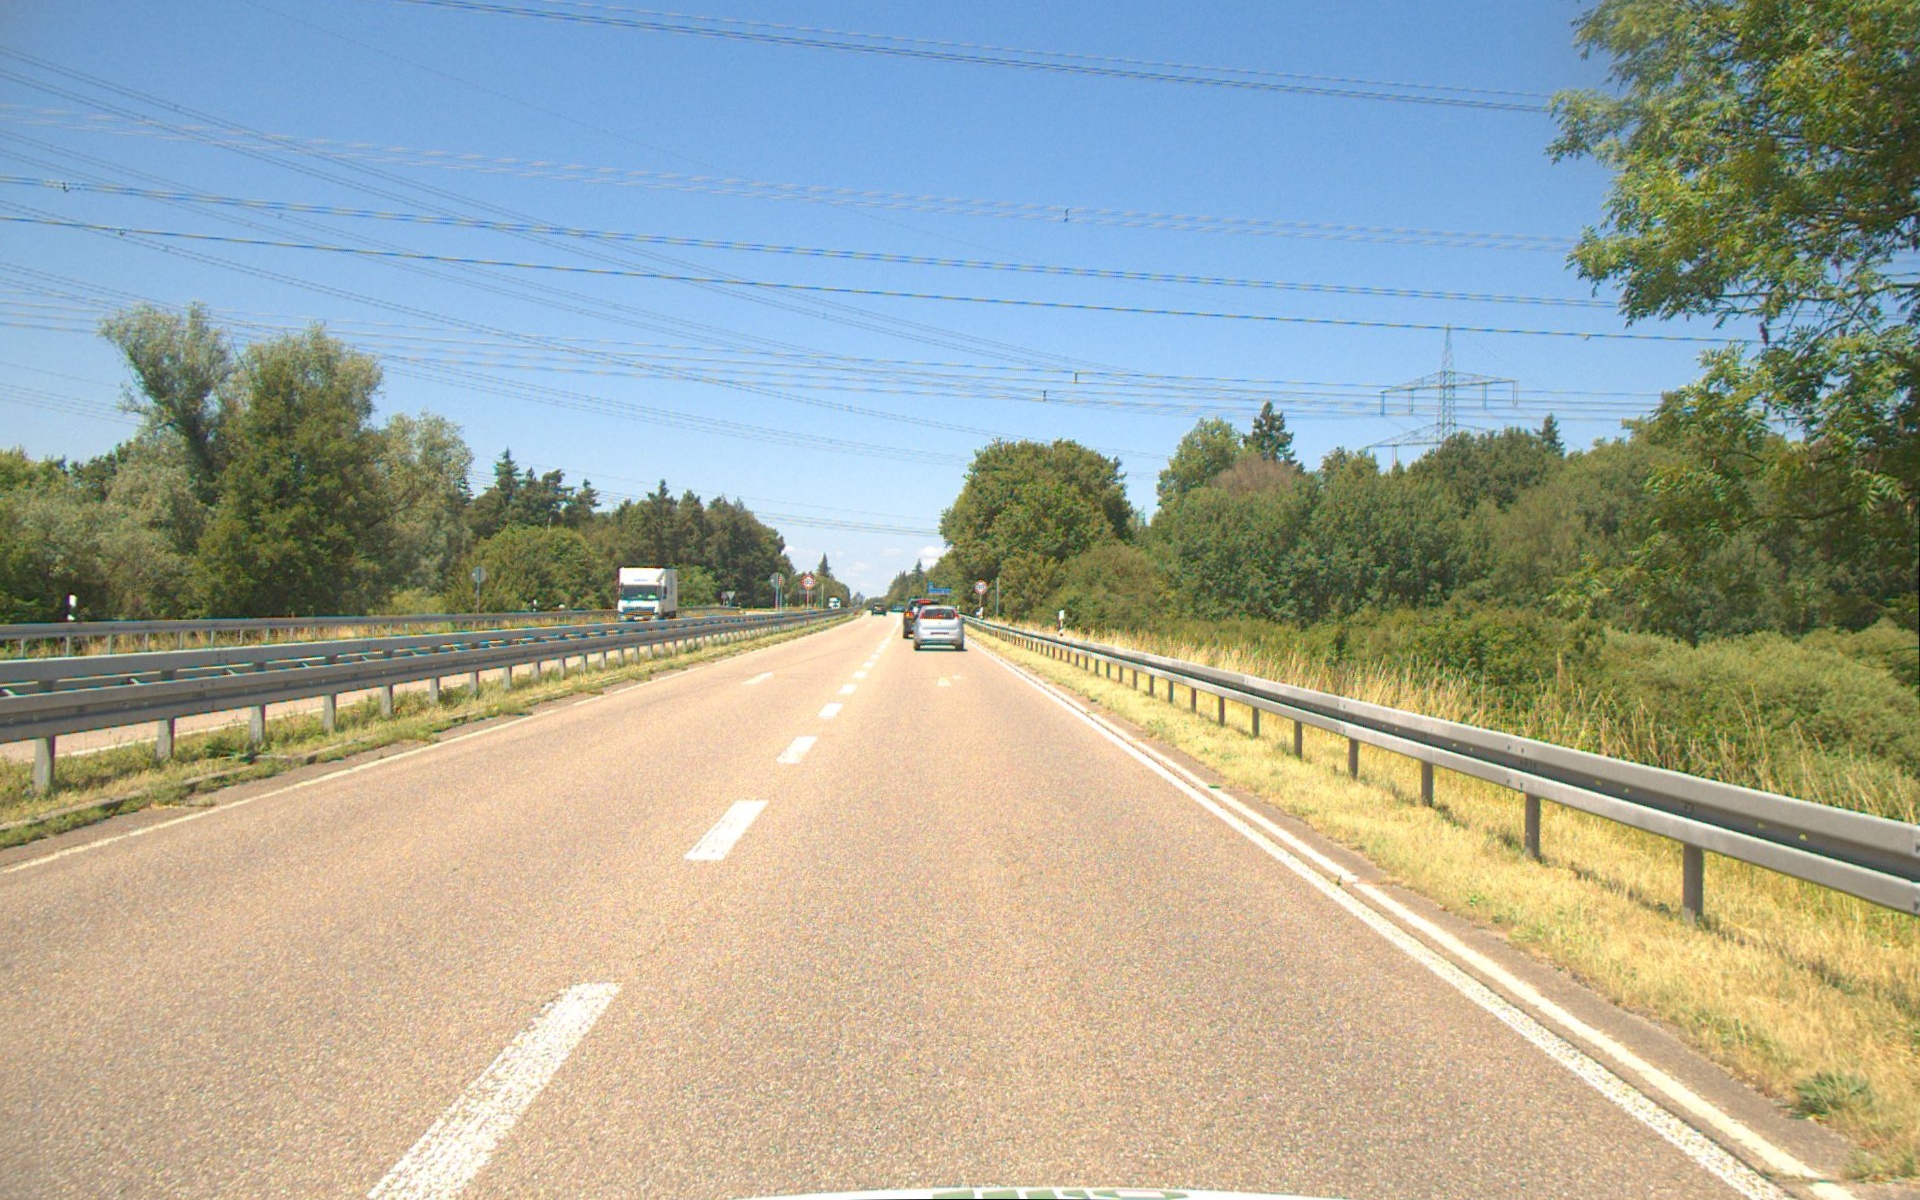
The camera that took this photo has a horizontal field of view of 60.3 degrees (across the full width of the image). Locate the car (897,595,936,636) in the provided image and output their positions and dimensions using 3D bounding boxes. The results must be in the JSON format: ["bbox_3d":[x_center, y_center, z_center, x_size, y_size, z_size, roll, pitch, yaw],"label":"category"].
[{"bbox_3d":[-1.993,0.693,74.510,1.608,1.682,3.572,3,-1,-3],"label":"car"}]

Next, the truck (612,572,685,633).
[{"bbox_3d":[-17.321,0.136,92.372,2.663,3.249,8.402,0,0,-2],"label":"truck"}]

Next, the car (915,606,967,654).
[{"bbox_3d":[-0.668,0.992,55.454,1.607,1.493,3.417,3,-1,-2],"label":"car"}]

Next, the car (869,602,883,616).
[{"bbox_3d":[-10.072,1.101,198.486,1.678,1.497,3.572,3,-1,-3],"label":"car"}]
